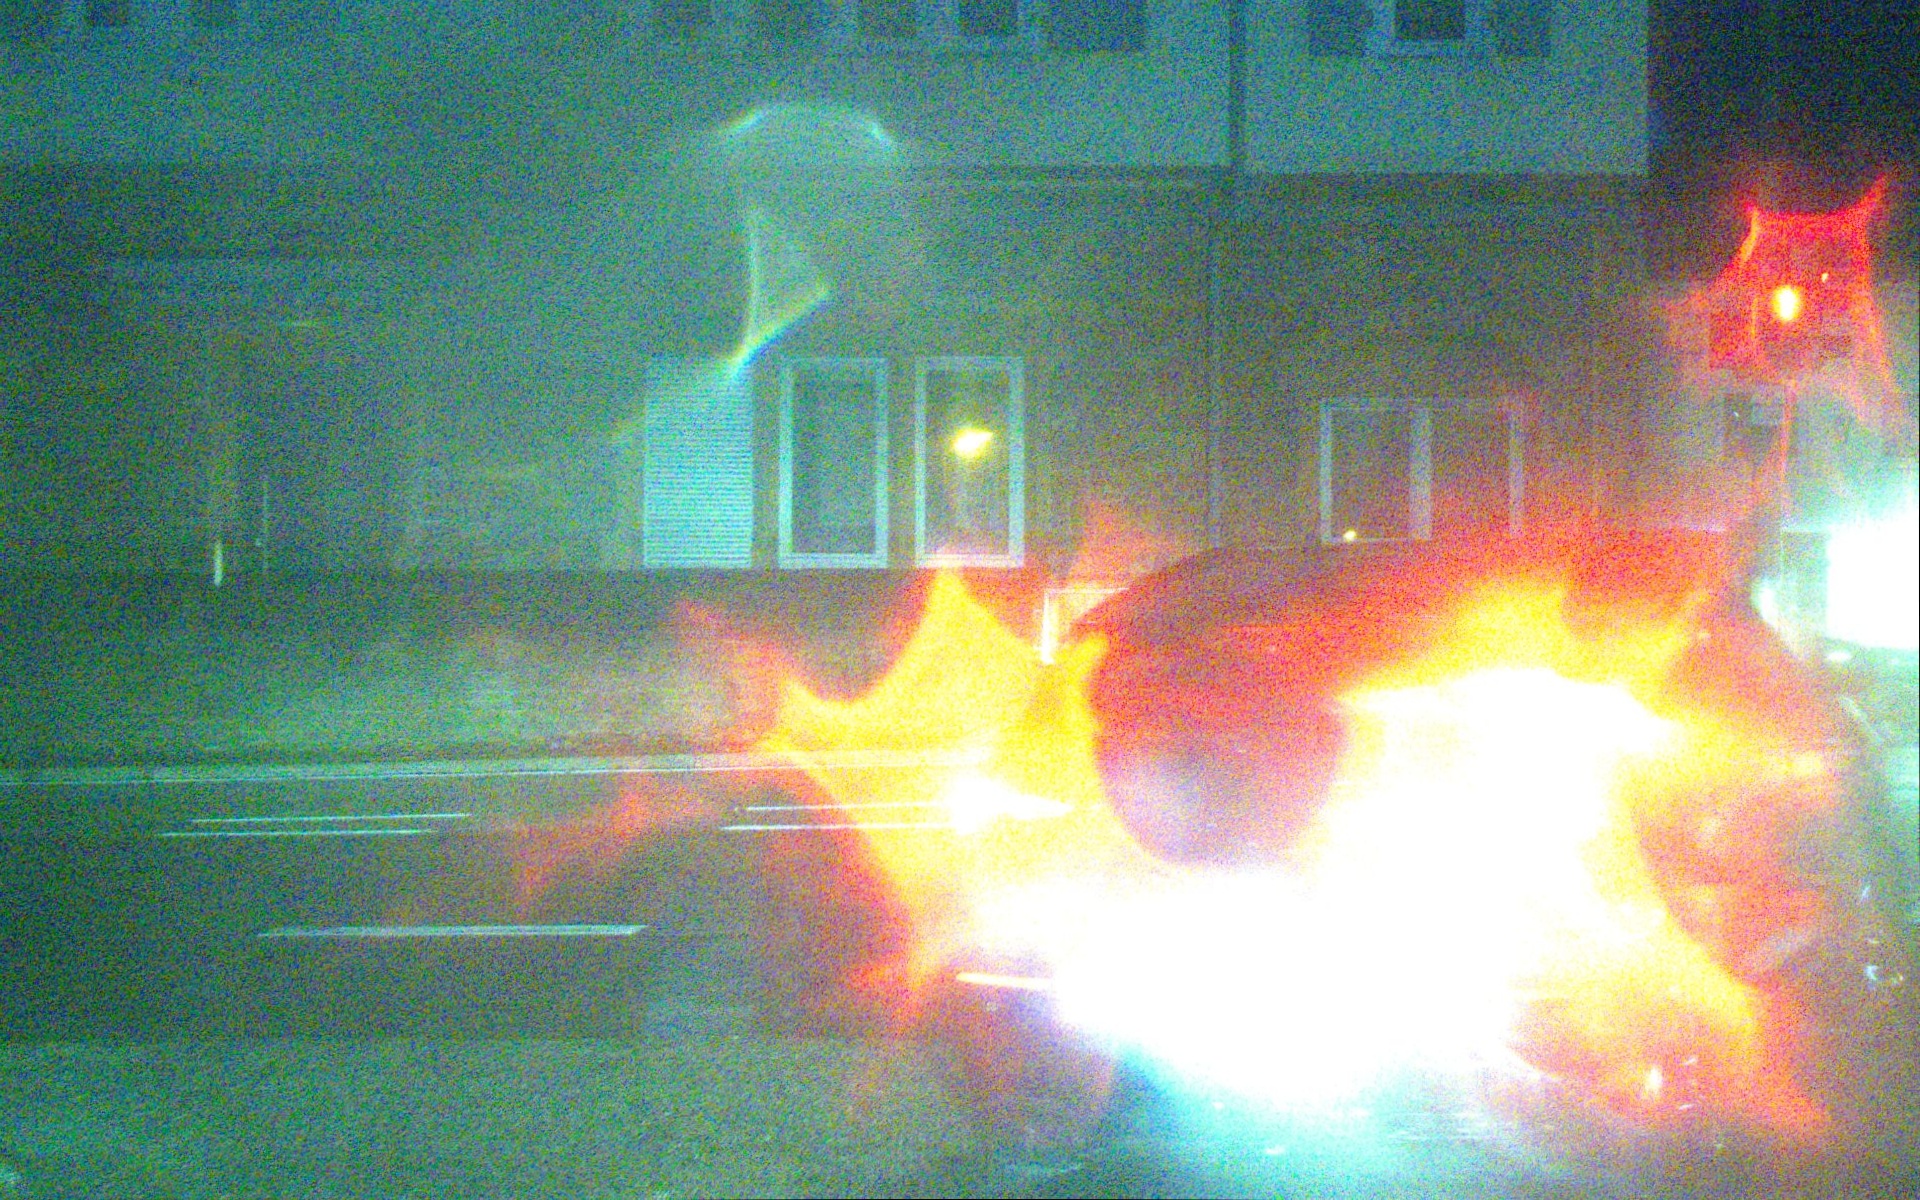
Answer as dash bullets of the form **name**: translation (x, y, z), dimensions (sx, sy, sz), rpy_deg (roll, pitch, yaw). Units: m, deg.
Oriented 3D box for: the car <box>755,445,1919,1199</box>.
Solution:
- **car**: translation (1.311, 0.555, 9.523), dimensions (2.060, 1.672, 4.134), rpy_deg (3, 0, 23)
